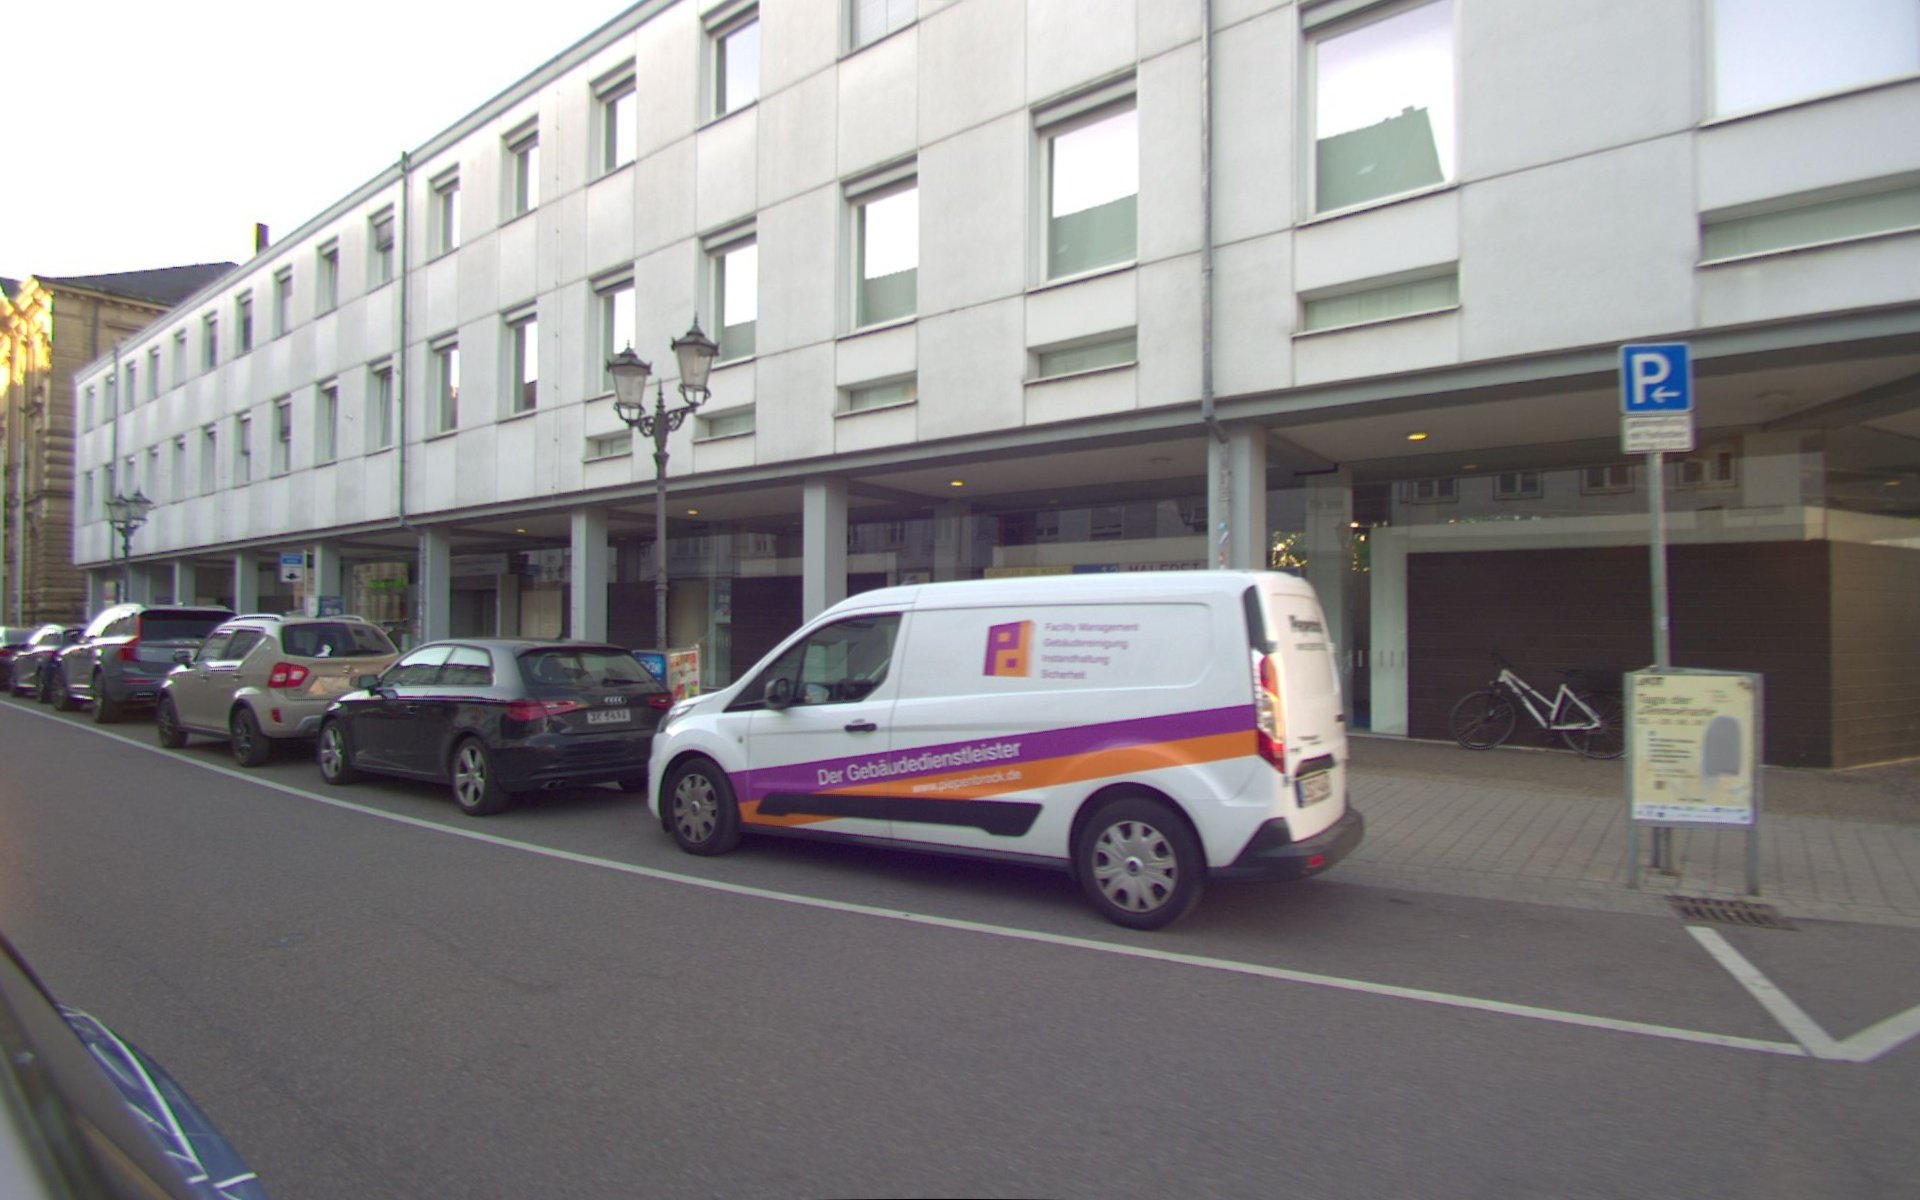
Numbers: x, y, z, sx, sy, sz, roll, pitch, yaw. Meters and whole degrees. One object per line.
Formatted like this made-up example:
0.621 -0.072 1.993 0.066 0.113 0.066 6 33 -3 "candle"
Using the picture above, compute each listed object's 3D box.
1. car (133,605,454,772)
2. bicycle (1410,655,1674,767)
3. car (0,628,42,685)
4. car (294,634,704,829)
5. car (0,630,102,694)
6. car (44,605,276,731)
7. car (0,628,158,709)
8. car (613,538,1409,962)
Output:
-8.081 0.960 12.176 3.994 1.674 1.975 -1 -3 37 "car"
6.087 1.117 10.682 2.332 0.991 0.726 -1 -1 38 "bicycle"
-25.728 1.465 26.638 4.085 1.419 1.767 -1 -2 40 "car"
-4.339 1.022 9.281 4.097 1.364 1.662 -1 -1 37 "car"
-21.680 1.391 23.488 3.996 1.364 1.974 -1 -3 39 "car"
-12.901 1.007 16.224 4.511 1.741 1.974 -1 -3 39 "car"
-17.260 1.264 19.725 3.995 1.411 1.657 -1 -2 38 "car"
0.152 0.690 6.492 4.768 1.829 1.978 -1 -1 32 "car"
